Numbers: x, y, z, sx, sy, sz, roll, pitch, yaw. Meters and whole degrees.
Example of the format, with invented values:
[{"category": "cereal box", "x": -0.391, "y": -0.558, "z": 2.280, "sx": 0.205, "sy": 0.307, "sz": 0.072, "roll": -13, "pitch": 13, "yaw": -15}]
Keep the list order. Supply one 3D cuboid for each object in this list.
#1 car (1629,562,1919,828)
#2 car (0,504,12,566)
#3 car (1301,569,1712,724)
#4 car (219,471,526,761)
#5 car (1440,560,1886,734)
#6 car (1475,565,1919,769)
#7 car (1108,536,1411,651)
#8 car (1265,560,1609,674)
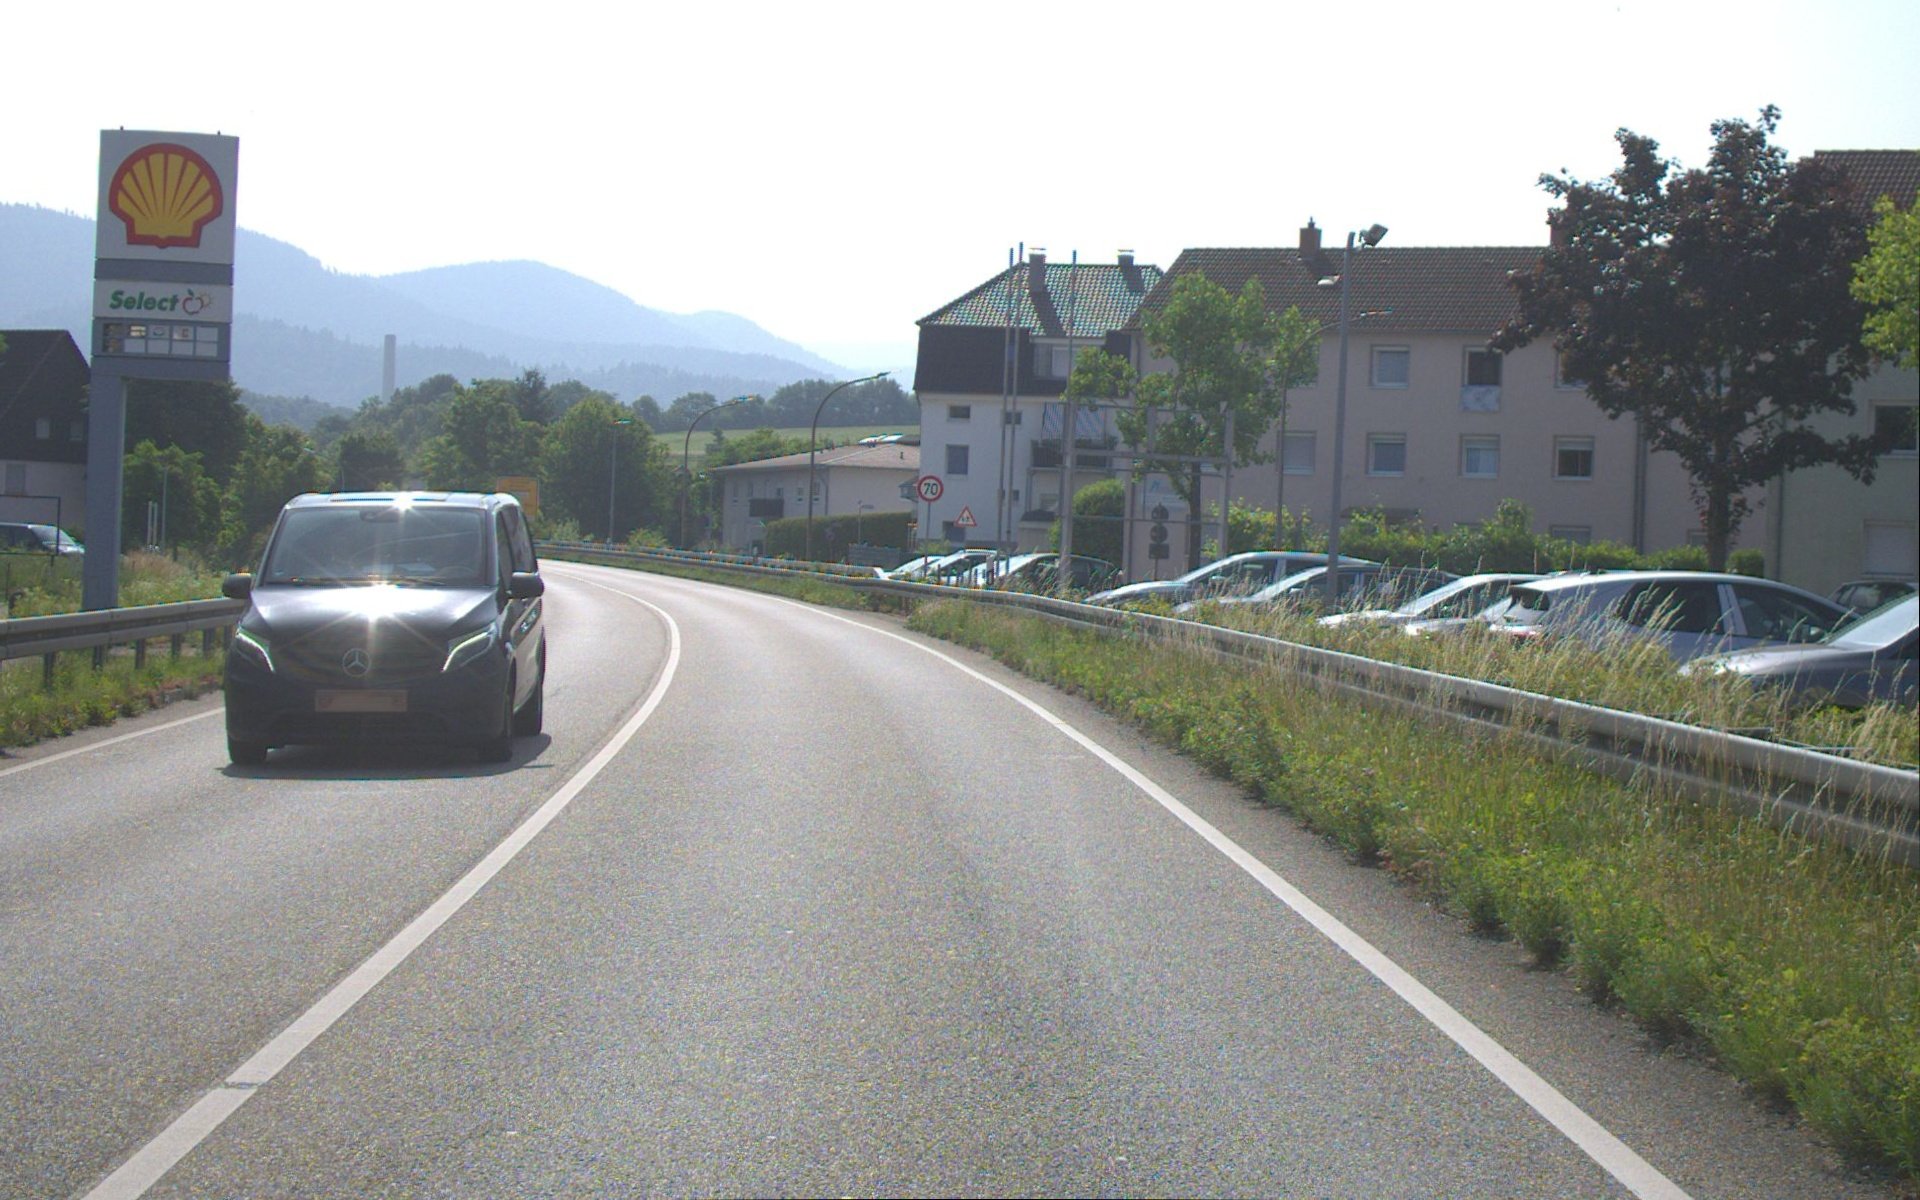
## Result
[{"category": "car", "x": 6.586, "y": 0.607, "z": 22.476, "sx": 3.986, "sy": 1.634, "sz": 1.888, "roll": 1, "pitch": 1, "yaw": -2}, {"category": "car", "x": -33.049, "y": -2.159, "z": 111.584, "sx": 4.901, "sy": 2.007, "sz": 1.995, "roll": 2, "pitch": 2, "yaw": 41}, {"category": "car", "x": 5.689, "y": 0.471, "z": 36.102, "sx": 3.986, "sy": 1.516, "sz": 1.698, "roll": 1, "pitch": 1, "yaw": -2}, {"category": "car", "x": -4.119, "y": 0.058, "z": 24.788, "sx": 1.914, "sy": 1.879, "sz": 4.912, "roll": 0, "pitch": 1, "yaw": -7}, {"category": "car", "x": 6.700, "y": 0.429, "z": 33.038, "sx": 3.846, "sy": 1.562, "sz": 1.807, "roll": 1, "pitch": 1, "yaw": -2}, {"category": "car", "x": 6.431, "y": 0.538, "z": 28.416, "sx": 3.986, "sy": 1.574, "sz": 1.779, "roll": 1, "pitch": 1, "yaw": -3}, {"category": "car", "x": 4.505, "y": -0.111, "z": 52.165, "sx": 4.319, "sy": 1.634, "sz": 2.140, "roll": 1, "pitch": 1, "yaw": -2}, {"category": "car", "x": 6.408, "y": 0.215, "z": 46.379, "sx": 4.319, "sy": 1.439, "sz": 1.629, "roll": 1, "pitch": 1, "yaw": -4}]
